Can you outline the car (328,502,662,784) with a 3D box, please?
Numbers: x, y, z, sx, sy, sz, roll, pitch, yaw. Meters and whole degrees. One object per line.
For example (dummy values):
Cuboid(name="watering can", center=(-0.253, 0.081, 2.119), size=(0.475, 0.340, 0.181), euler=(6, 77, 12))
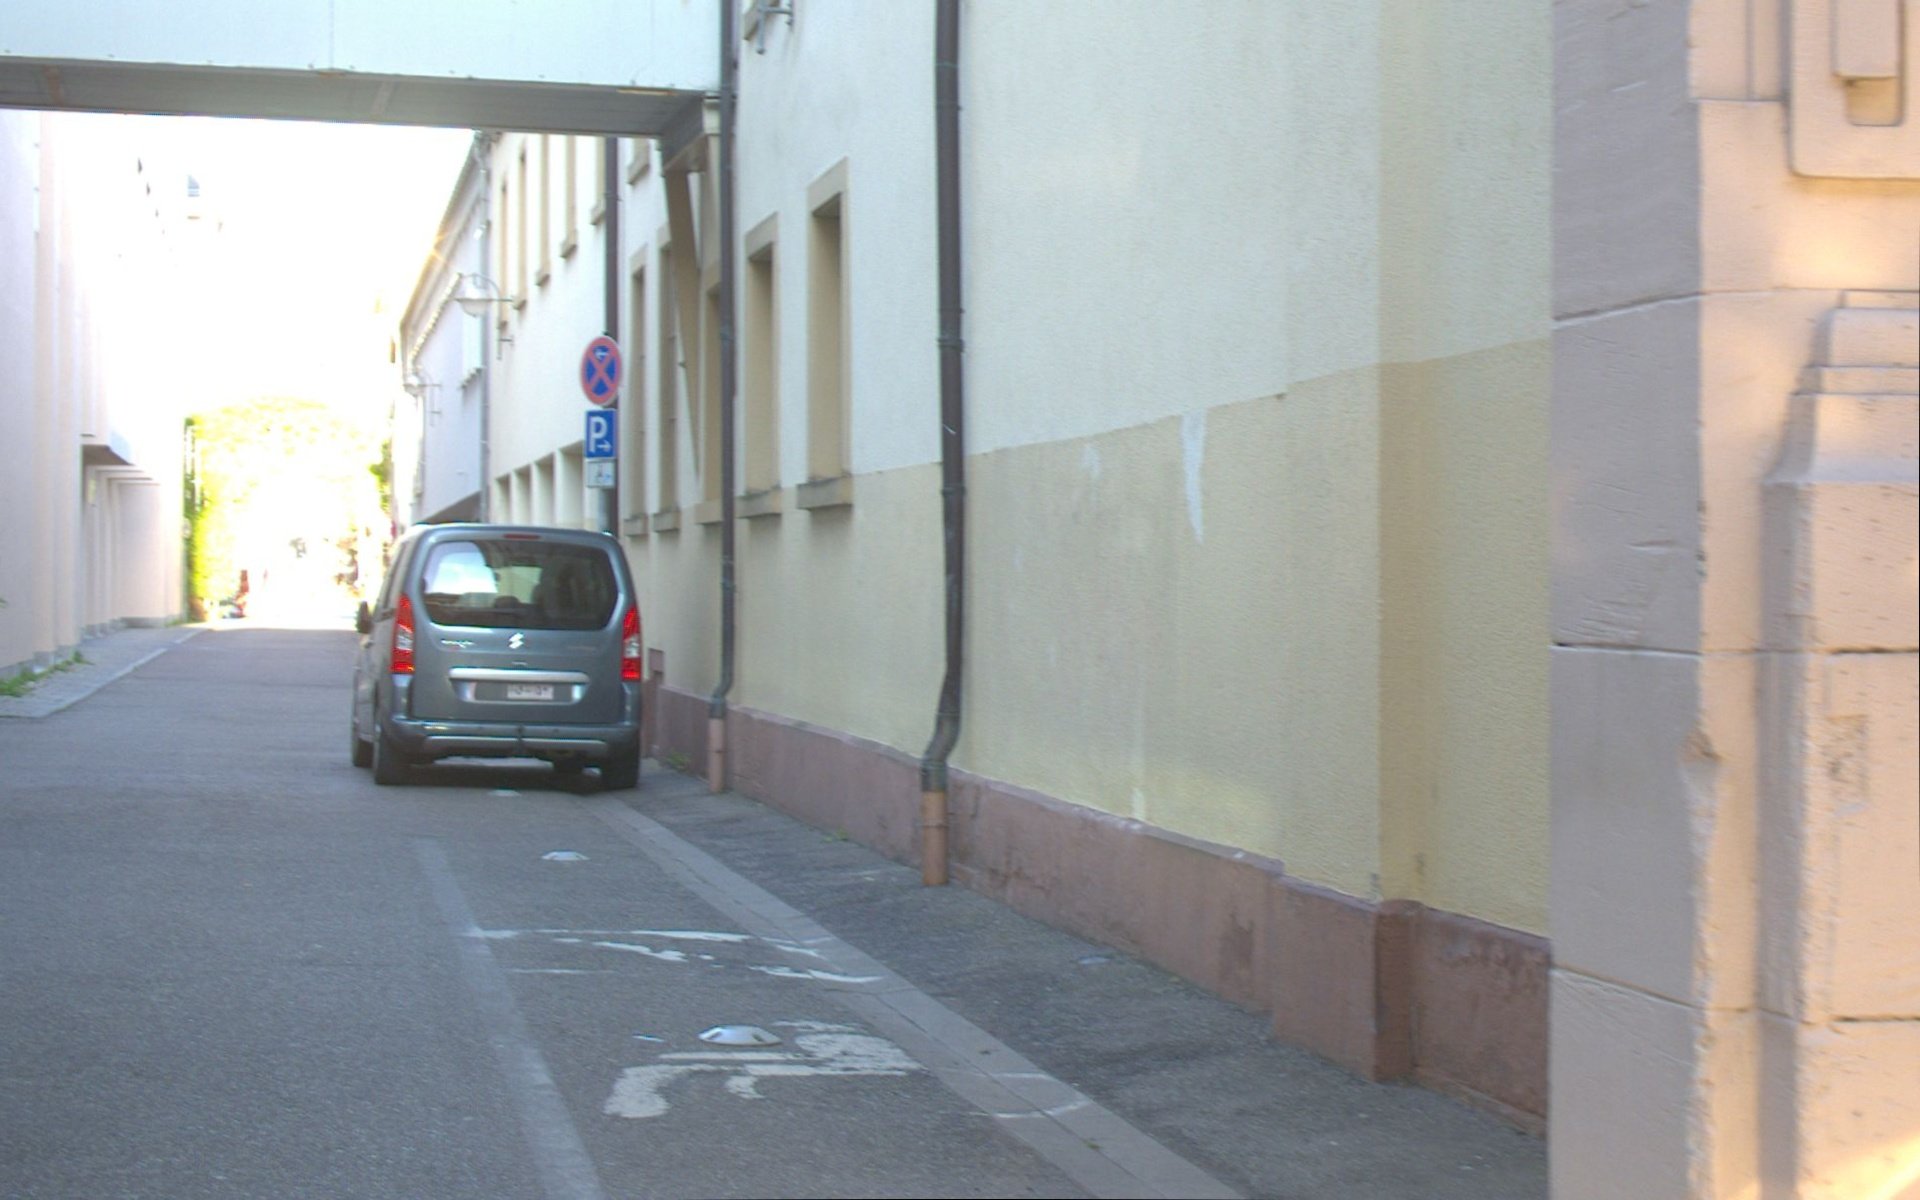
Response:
Cuboid(name="car", center=(-3.417, 0.303, 24.616), size=(1.854, 1.750, 4.163), euler=(3, -1, -14))
